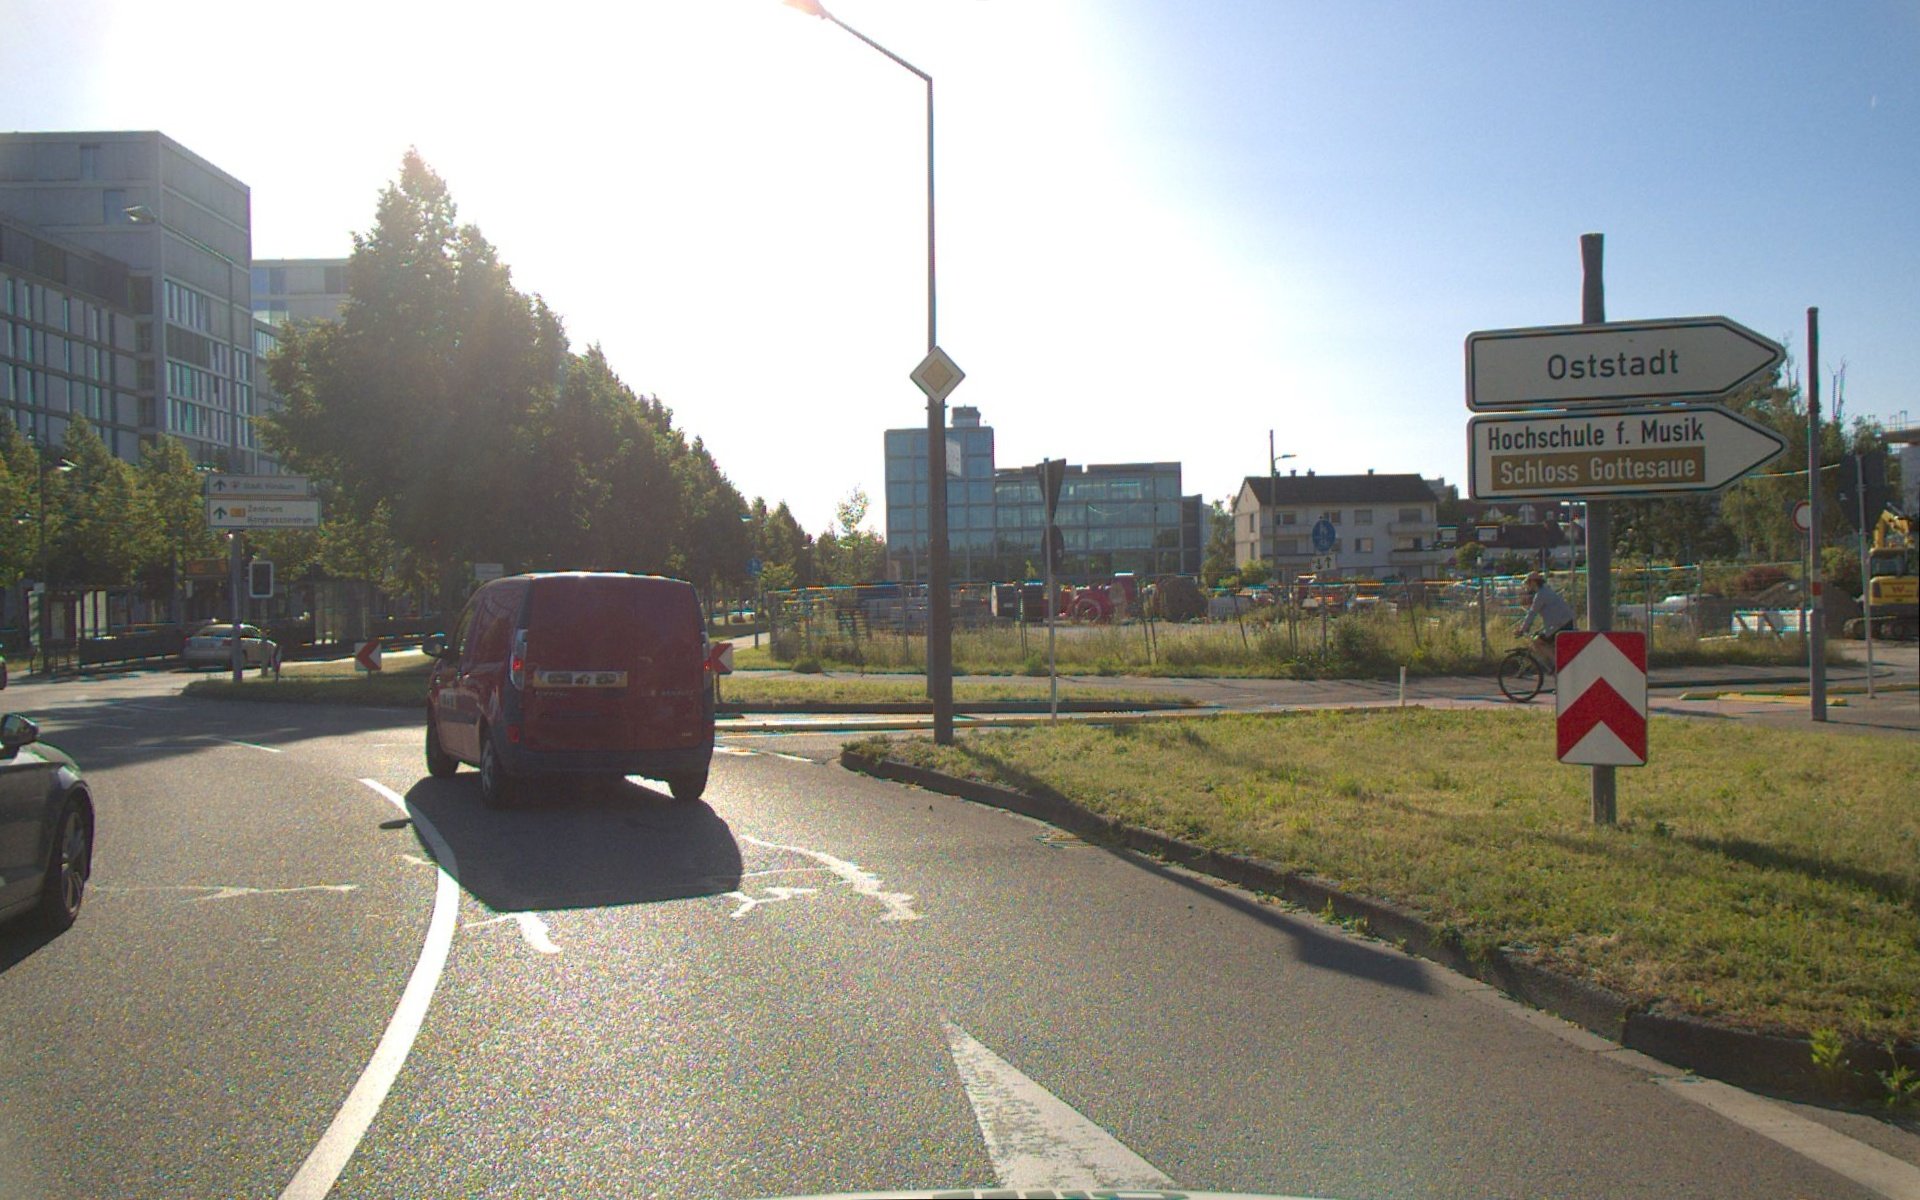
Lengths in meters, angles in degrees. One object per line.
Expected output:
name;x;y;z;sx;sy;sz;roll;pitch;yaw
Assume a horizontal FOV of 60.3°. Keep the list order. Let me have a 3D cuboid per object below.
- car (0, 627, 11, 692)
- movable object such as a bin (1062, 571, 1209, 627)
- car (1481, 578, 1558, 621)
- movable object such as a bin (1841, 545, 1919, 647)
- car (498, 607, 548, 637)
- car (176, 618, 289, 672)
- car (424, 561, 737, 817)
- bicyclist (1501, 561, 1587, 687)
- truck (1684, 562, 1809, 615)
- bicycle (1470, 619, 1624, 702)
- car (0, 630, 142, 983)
car;-23.115;1.436;37.758;1.775;1.487;3.789;0;1;-19
movable object such as a bin;9.527;-0.061;90.554;7.743;2.831;2.944;-1;0;1
car;27.951;-0.048;82.746;1.955;2.049;4.494;1;1;-5
movable object such as a bin;26.892;-0.132;47.601;2.371;2.822;3.998;1;1;24
car;-26.384;1.309;99.960;1.953;1.602;4.406;-2;1;-2
car;-24.667;1.487;56.269;1.953;1.602;4.407;-2;1;-2
car;-3.342;0.670;14.046;1.781;1.845;3.777;1;-1;-26
bicyclist;8.243;0.327;23.352;0.734;1.709;0.844;-4;2;-34
truck;31.676;-0.475;66.856;2.119;2.049;6.437;1;1;1
bicycle;8.272;0.830;23.378;0.733;1.045;1.986;-4;2;-34
car;-4.645;0.836;6.221;1.729;1.404;4.346;-1;-1;-12
